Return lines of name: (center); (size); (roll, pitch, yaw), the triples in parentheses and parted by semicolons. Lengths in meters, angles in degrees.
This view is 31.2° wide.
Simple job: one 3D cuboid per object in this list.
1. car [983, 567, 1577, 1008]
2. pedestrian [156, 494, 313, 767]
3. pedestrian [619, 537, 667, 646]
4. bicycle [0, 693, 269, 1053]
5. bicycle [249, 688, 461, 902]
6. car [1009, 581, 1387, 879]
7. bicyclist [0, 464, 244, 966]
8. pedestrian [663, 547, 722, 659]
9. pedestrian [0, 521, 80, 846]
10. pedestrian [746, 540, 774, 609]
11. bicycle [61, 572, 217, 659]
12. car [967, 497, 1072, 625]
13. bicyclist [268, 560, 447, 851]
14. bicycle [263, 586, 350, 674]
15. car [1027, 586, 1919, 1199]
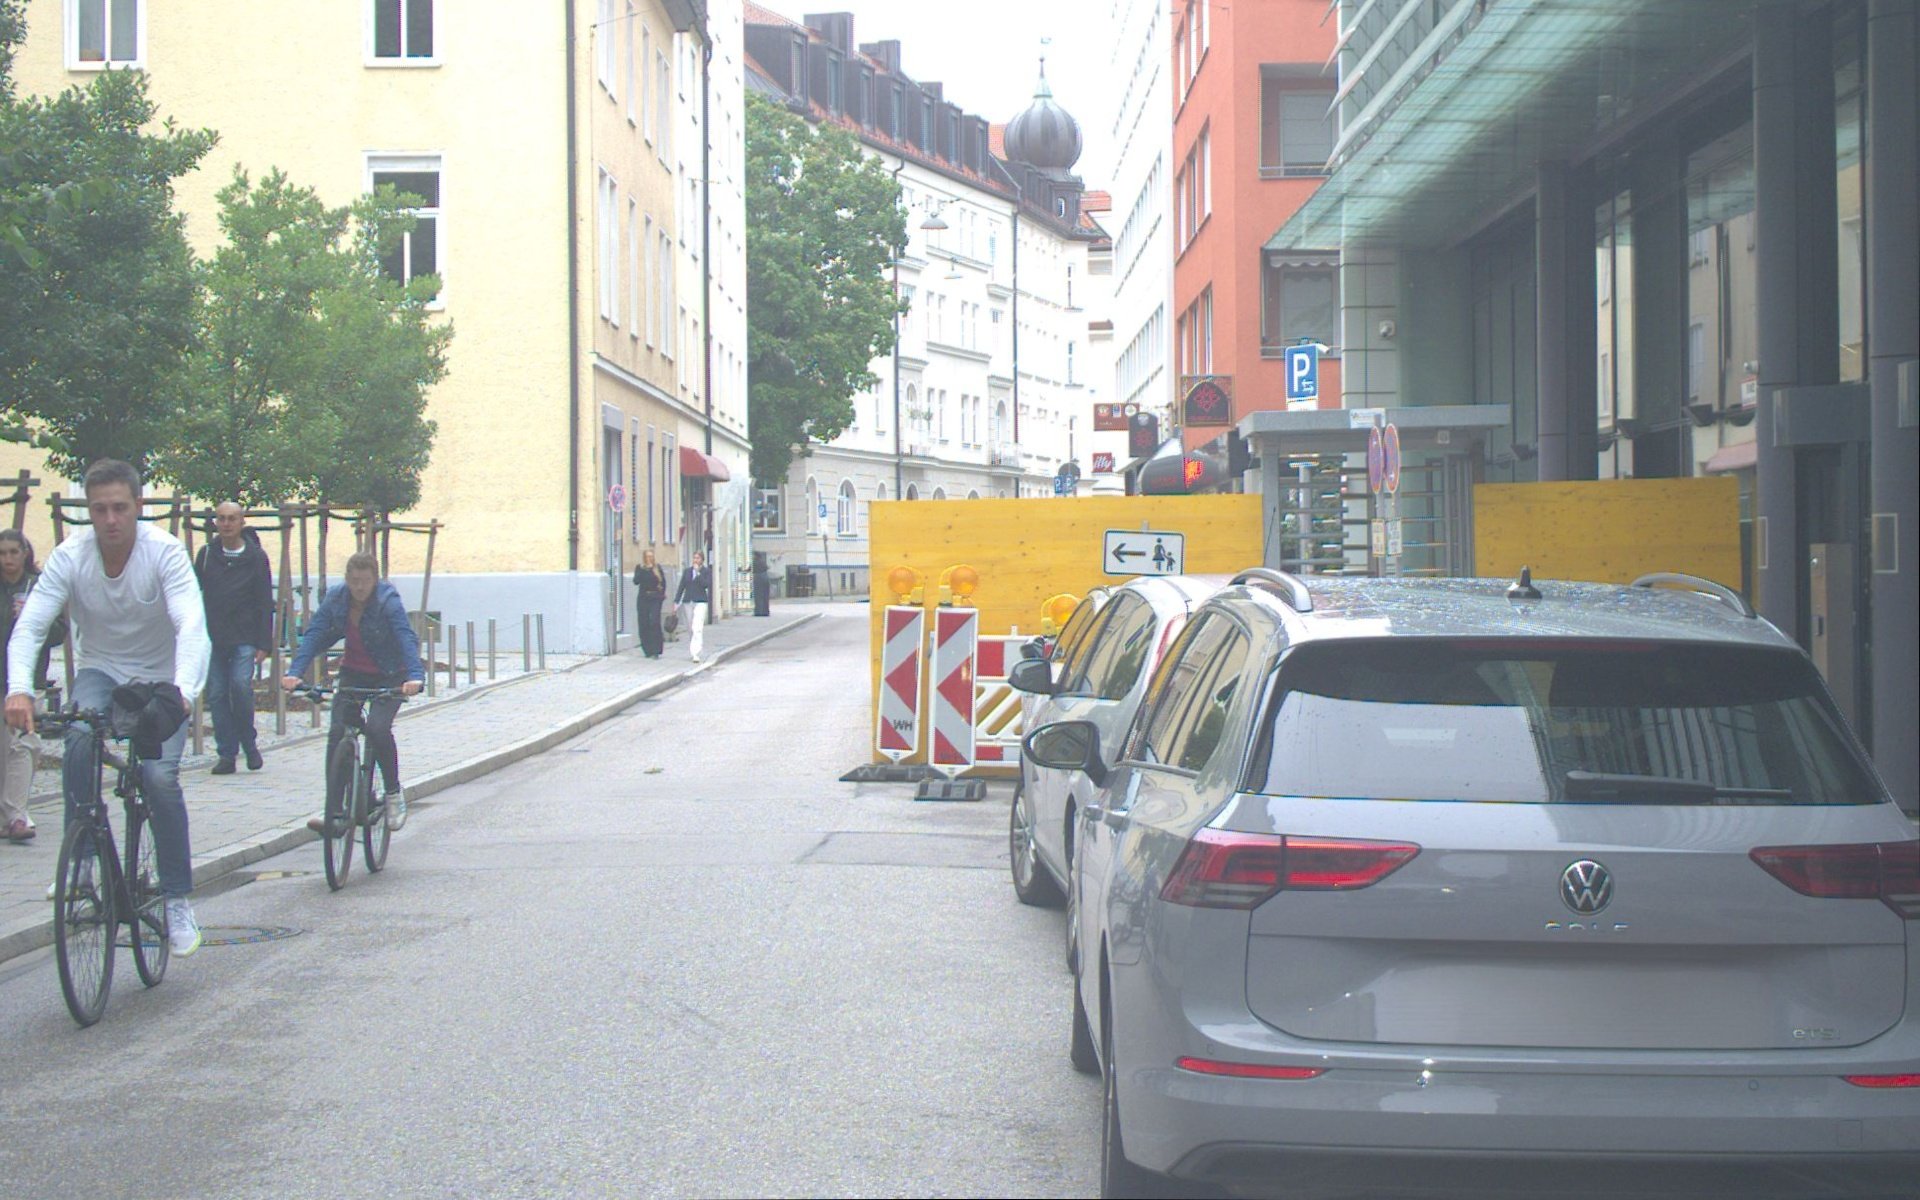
car: (1.098, 0.621, 13.725); (1.707, 1.462, 4.238); (1, 0, -3)
pedestrian: (-5.099, 0.206, 24.222); (0.867, 1.875, 1.135); (0, 0, -1)
pedestrian: (-4.858, -0.133, 52.725); (0.670, 1.642, 0.761); (0, 0, -1)
bicycle: (-2.877, 0.876, 11.667); (0.661, 1.035, 2.005); (-1, 1, 0)
bicycle: (-2.907, 0.918, 16.676); (0.707, 0.902, 1.809); (-1, 1, 0)
car: (1.185, 0.616, 18.884); (1.708, 1.409, 4.510); (1, 0, 0)
bicyclist: (-2.875, 0.373, 11.718); (0.659, 1.637, 0.895); (-1, 1, 0)
pedestrian: (-4.087, 0.043, 52.598); (0.839, 1.695, 0.803); (0, 0, 0)
pedestrian: (-5.039, 0.425, 18.055); (0.647, 1.671, 0.724); (0, 0, -1)
pedestrian: (-4.873, -0.622, 83.773); (0.634, 1.669, 0.517); (0, 1, 0)
bicycle: (-11.458, 0.213, 47.967); (2.044, 1.193, 0.570); (0, 1, 7)
car: (1.192, -0.812, 71.002); (1.993, 2.528, 4.975); (0, 1, -1)
bicyclist: (-2.910, 0.494, 16.671); (0.707, 1.366, 0.813); (-1, 1, 0)
bicycle: (-8.754, 0.390, 46.141); (0.510, 1.141, 2.051); (1, 1, 8)
car: (1.089, 0.696, 8.431); (1.708, 1.427, 4.329); (0, 1, -1)
